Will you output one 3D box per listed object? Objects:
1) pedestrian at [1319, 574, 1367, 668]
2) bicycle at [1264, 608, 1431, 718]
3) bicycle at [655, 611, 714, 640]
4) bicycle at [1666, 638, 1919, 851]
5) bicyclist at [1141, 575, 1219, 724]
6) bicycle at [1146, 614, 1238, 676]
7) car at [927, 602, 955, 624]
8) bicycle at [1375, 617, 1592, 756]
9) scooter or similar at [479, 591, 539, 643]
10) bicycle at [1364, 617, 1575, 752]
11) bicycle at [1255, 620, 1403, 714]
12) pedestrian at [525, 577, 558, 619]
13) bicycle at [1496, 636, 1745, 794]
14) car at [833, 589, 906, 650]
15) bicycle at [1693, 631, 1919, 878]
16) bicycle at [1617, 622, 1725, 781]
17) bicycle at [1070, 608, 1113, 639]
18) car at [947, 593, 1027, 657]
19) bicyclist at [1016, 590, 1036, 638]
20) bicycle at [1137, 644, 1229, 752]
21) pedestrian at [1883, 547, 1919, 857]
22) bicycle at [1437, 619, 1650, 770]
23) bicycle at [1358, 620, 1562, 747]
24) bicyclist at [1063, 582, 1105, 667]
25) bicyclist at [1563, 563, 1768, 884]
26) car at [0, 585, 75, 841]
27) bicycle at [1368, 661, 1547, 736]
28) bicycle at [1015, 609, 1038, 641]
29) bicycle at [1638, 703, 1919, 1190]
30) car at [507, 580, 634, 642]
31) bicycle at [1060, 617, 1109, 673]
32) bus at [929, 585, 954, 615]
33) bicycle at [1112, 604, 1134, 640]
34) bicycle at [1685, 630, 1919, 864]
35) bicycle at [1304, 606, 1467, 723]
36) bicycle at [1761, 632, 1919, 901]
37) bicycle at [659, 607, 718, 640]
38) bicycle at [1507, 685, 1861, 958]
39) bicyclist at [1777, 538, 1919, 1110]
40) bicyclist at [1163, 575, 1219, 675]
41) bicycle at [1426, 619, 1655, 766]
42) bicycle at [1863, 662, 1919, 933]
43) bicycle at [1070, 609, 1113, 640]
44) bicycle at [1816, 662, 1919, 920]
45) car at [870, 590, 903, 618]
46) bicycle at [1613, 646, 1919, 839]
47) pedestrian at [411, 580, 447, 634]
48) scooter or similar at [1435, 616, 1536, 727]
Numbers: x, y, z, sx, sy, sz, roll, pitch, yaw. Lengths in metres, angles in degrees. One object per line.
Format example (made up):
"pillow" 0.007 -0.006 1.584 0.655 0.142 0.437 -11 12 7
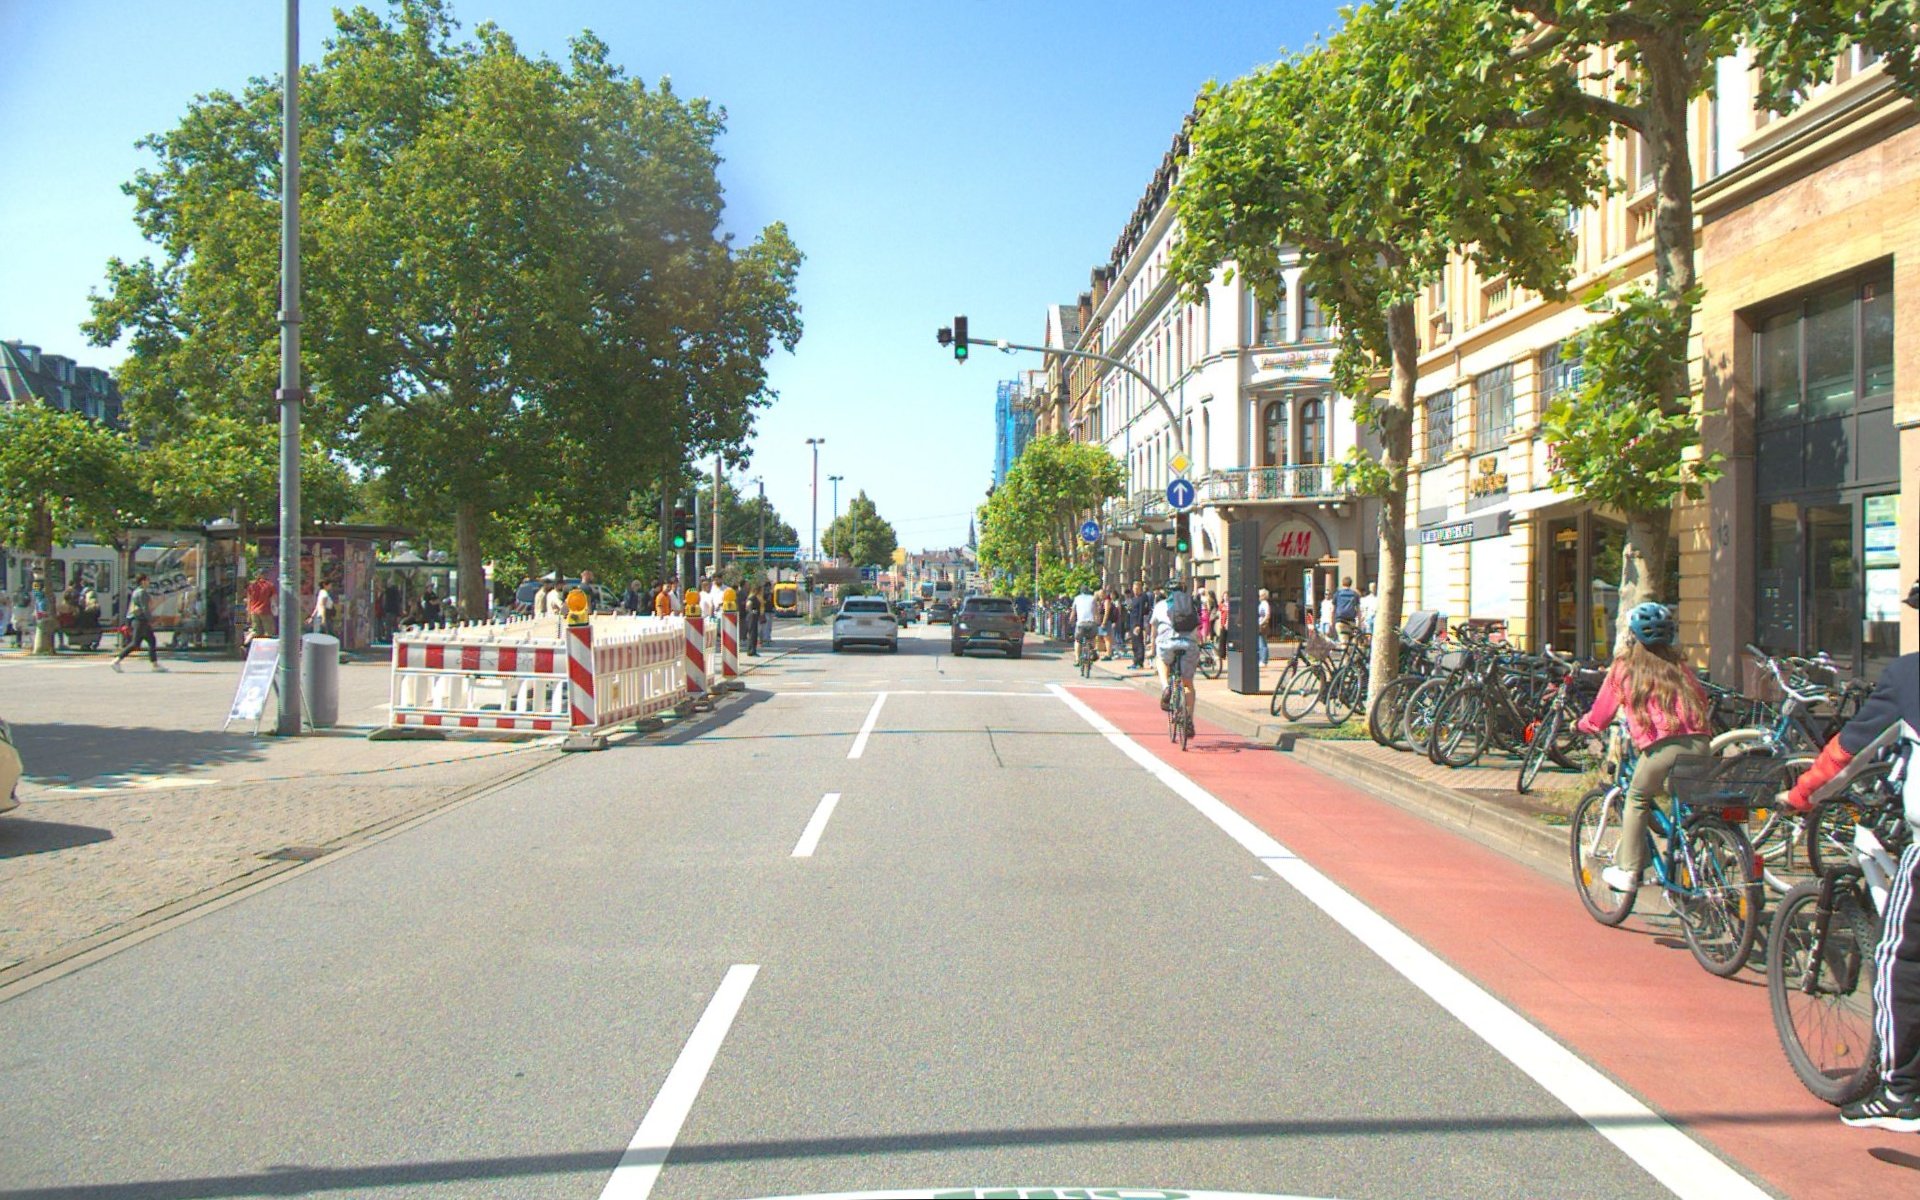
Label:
"pedestrian" 7.572 0.422 32.764 0.644 1.821 1.232 0 -2 -1
"bicycle" 4.696 0.746 20.042 1.904 1.279 0.701 1 0 -21
"bicycle" -9.902 0.914 59.424 2.046 0.997 0.682 0 -1 -13
"bicycle" 5.079 0.831 9.665 1.692 1.182 0.477 1 0 1
"bicyclist" 2.303 0.503 17.421 0.617 1.507 1.198 0 0 -2
"bicycle" 4.321 0.829 30.875 0.595 1.101 1.816 -2 0 -35
"car" -1.320 0.875 111.708 1.808 1.438 3.999 0 0 -2
"bicycle" 4.765 0.780 15.124 1.805 1.222 0.545 1 0 1
"scooter or similar" -12.705 0.470 46.624 1.252 1.445 1.037 0 -1 29
"bicycle" 4.792 0.785 15.630 1.805 1.222 0.608 1 0 1
"bicycle" 4.658 0.836 20.922 1.746 1.142 0.562 0 0 -4
"pedestrian" -11.684 -0.053 46.186 0.619 1.164 0.665 0 -1 20
"bicycle" 4.921 0.845 12.385 1.615 1.114 0.607 1 0 1
"car" -2.412 0.492 44.938 1.808 1.587 3.999 -1 0 -1
"bicycle" 4.805 0.798 8.683 1.692 1.238 0.477 1 0 1
"bicycle" 5.876 0.802 13.731 0.462 1.208 1.656 1 0 11
"bicycle" 4.453 0.796 56.009 1.391 0.997 0.445 -1 1 -1
"car" 0.662 0.616 43.634 1.809 1.586 3.997 1 0 -3
"bicyclist" 2.204 0.459 55.243 0.634 1.578 0.817 0 0 -1
"bicycle" 2.306 0.992 17.313 0.617 0.997 2.088 0 0 -2
"pedestrian" 5.394 0.543 8.746 0.602 1.640 0.745 1 0 0
"bicycle" 4.891 0.785 13.907 1.615 1.222 0.474 1 0 1
"bicycle" 4.898 0.809 16.263 1.805 1.184 0.659 1 0 1
"bicyclist" 2.448 0.477 32.766 0.758 1.664 0.851 0 0 -1
"bicyclist" 3.178 0.531 7.496 0.588 1.381 0.720 0 0 -4
"car" -7.603 0.680 8.876 1.854 1.569 4.857 1 0 26
"bicycle" 5.279 1.032 17.553 1.818 0.728 0.655 1 0 -22
"bicycle" 2.194 0.830 55.028 0.634 1.015 2.030 0 0 -1
"bicycle" 2.773 0.943 4.704 0.684 1.146 2.079 2 0 -4
"car" -12.965 0.368 55.363 1.820 1.989 4.762 0 0 20
"bicycle" 2.451 0.874 32.785 0.758 1.023 2.329 0 0 -1
"bus" -2.391 0.017 208.664 2.934 3.657 11.740 0 0 -2
"bicycle" 5.332 0.715 54.026 0.391 1.133 1.425 -1 1 20
"bicycle" 4.979 0.802 9.178 1.692 1.238 0.477 1 0 1
"bicycle" 5.007 0.743 19.450 1.795 1.331 0.684 1 0 -21
"bicycle" 4.824 0.789 7.959 1.692 1.238 0.477 1 0 1
"bicycle" -9.588 0.826 58.428 2.046 1.109 0.682 0 -1 -13
"bicycle" 3.175 0.918 7.503 0.588 0.942 2.086 0 0 -3
"bicyclist" 2.797 0.582 4.512 0.684 1.466 0.790 2 0 -5
"bicyclist" 4.311 0.458 30.870 0.569 1.828 0.846 -2 0 -35
"bicycle" 5.010 0.786 14.323 1.805 1.222 0.474 1 0 1
"bicycle" 4.884 0.852 7.180 1.692 1.128 0.402 1 0 1
"bicycle" 4.338 0.797 54.597 1.391 0.997 0.445 -1 1 -1
"bicycle" 4.911 0.867 7.599 1.692 1.128 0.477 1 0 1
"car" -4.200 0.222 94.965 1.808 1.587 3.999 0 0 -2
"bicycle" 4.989 0.860 10.174 1.692 1.114 0.607 1 0 1
"pedestrian" -14.844 0.188 46.267 0.619 1.504 0.731 0 -1 20
"scooter or similar" 5.977 0.794 18.849 0.414 1.198 1.224 1 0 -21
